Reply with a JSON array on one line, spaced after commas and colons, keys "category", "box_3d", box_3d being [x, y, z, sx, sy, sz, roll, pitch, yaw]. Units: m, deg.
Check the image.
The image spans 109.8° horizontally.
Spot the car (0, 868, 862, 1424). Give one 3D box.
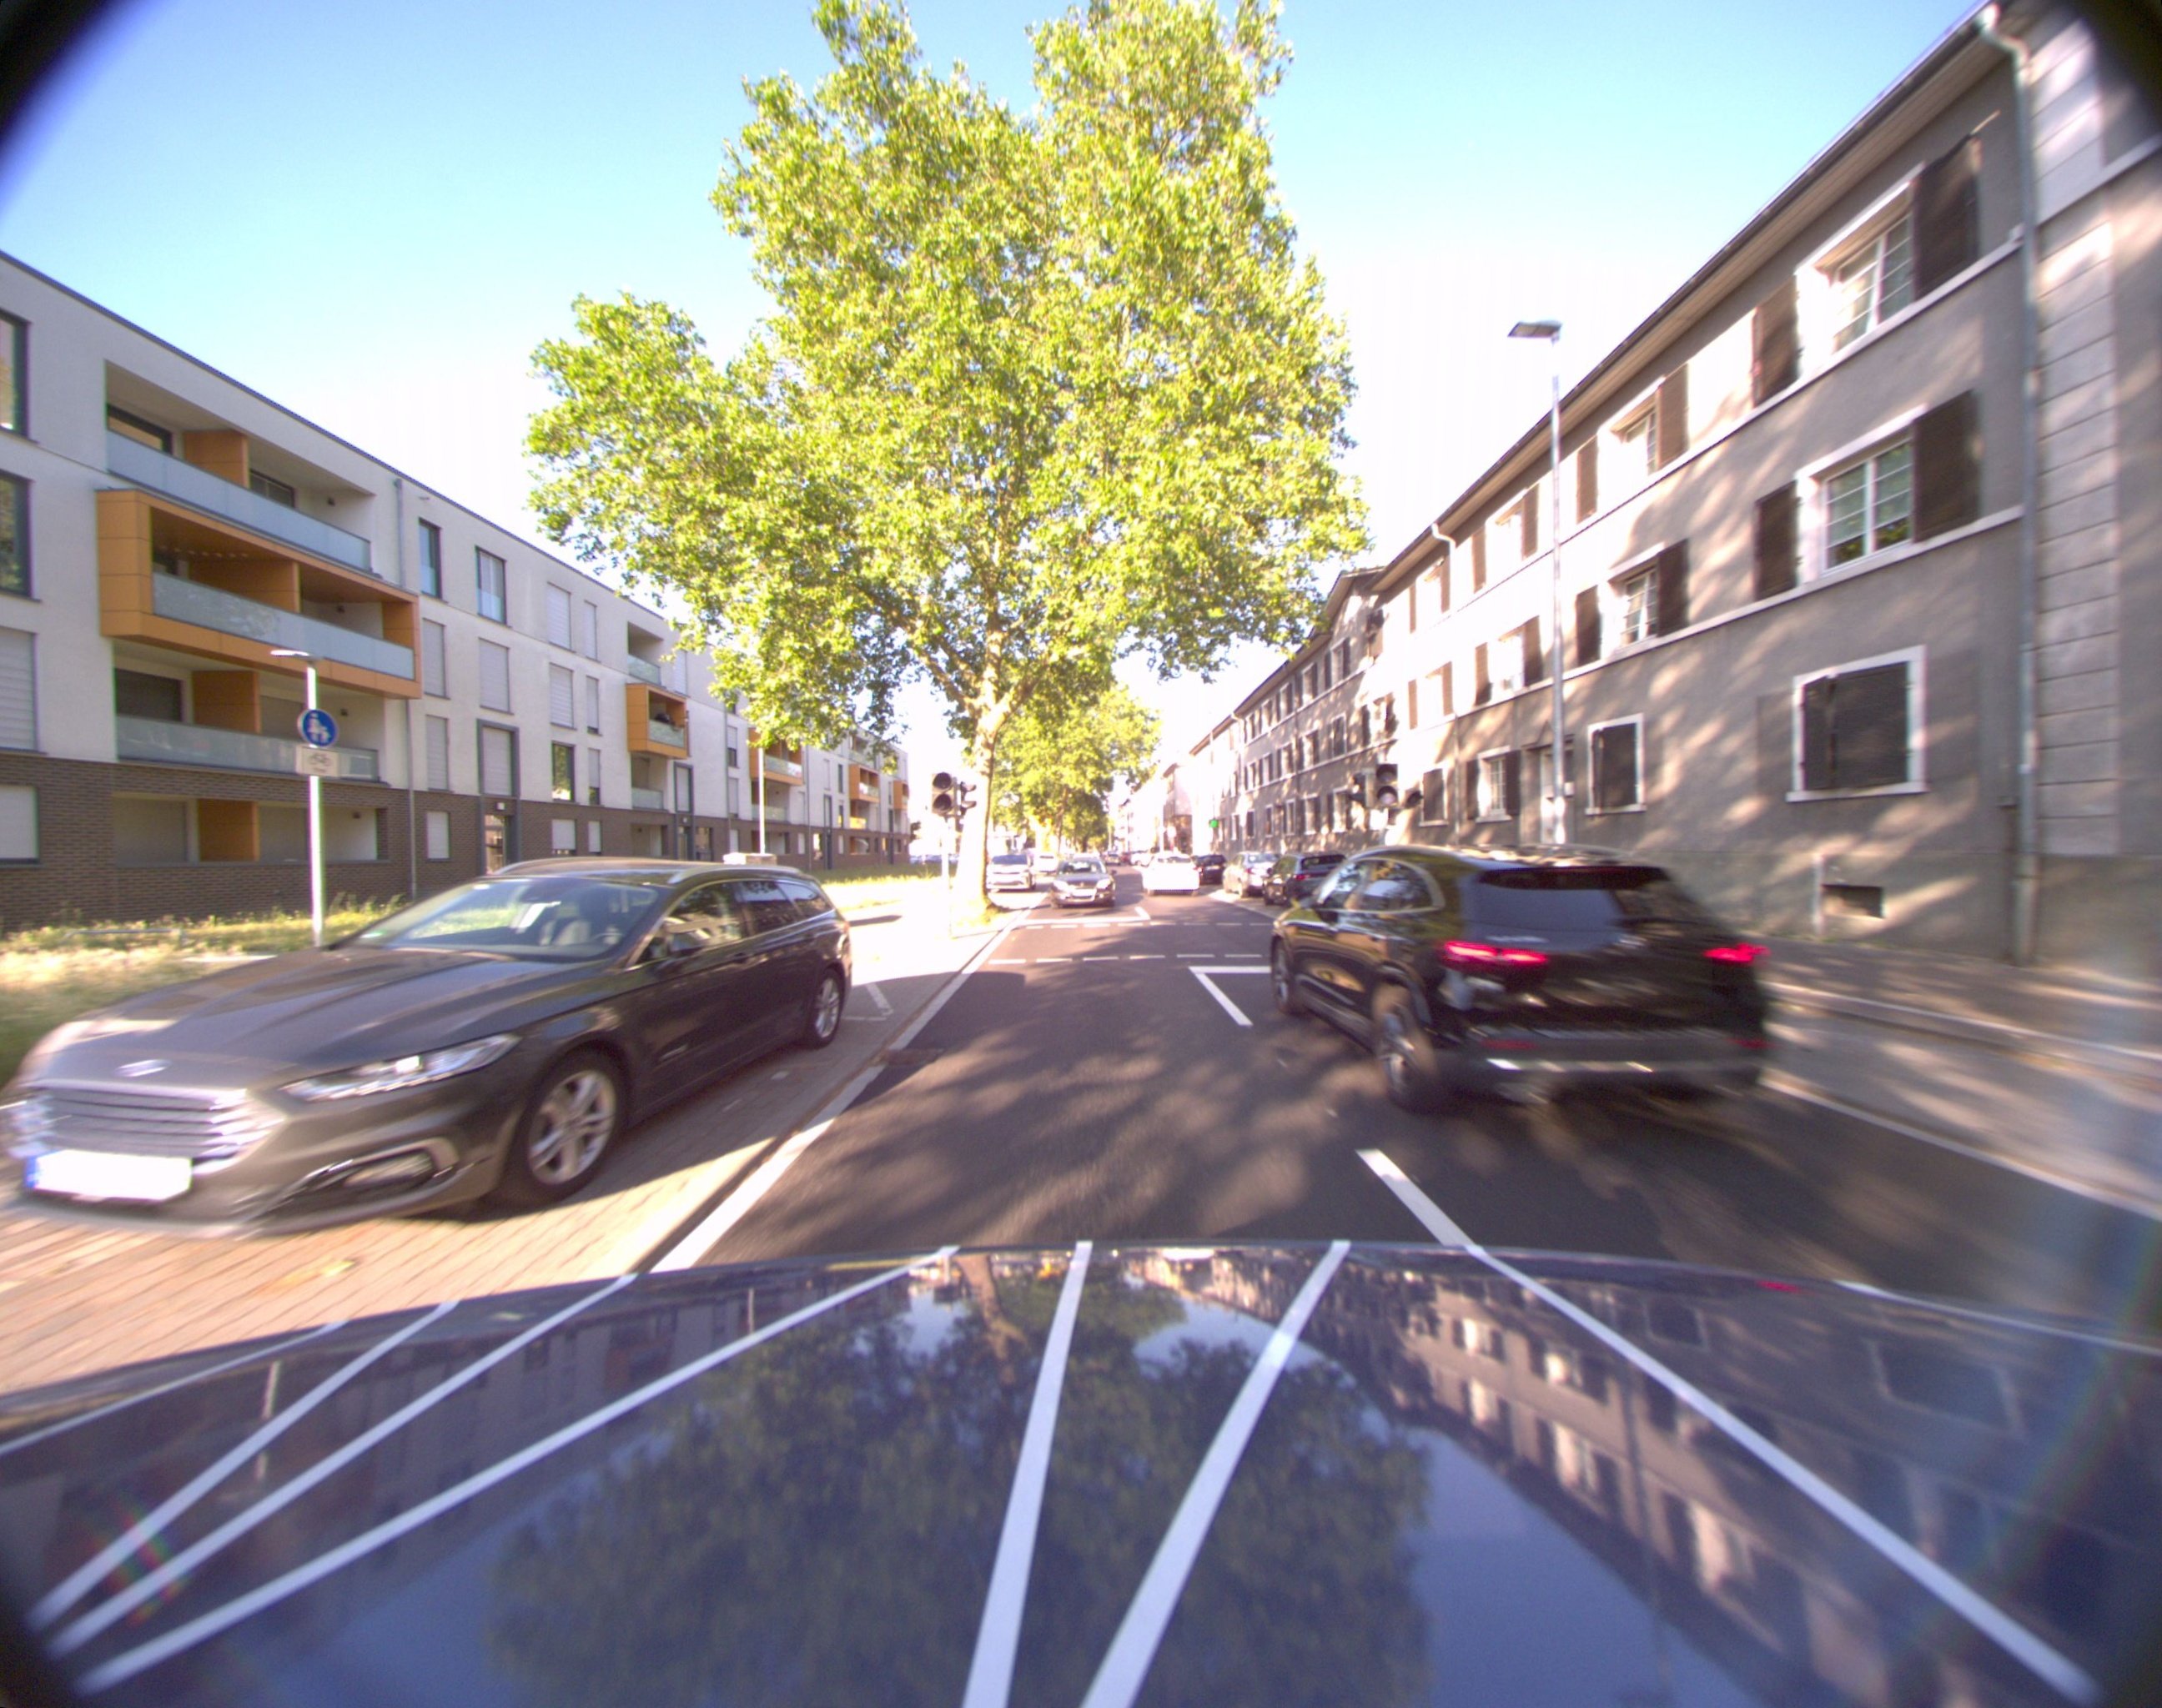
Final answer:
[{"category": "car", "box_3d": [-2.984, 0.910, 4.622, 1.704, 1.472, 4.697, 2, 1, 3]}]

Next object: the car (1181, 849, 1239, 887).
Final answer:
[{"category": "car", "box_3d": [5.906, 0.596, 35.291, 1.870, 1.603, 4.085, -2, 1, -1]}]

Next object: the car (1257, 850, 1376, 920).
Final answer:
[{"category": "car", "box_3d": [5.921, 0.712, 19.632, 1.869, 1.475, 4.087, -4, 1, 2]}]

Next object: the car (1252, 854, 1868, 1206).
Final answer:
[{"category": "car", "box_3d": [2.664, 0.814, 5.534, 1.901, 1.581, 4.069, 0, 1, 0]}]

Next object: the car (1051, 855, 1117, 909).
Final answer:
[{"category": "car", "box_3d": [0.036, 0.797, 23.509, 1.870, 1.471, 4.085, -1, 1, -1]}]

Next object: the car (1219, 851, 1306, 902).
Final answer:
[{"category": "car", "box_3d": [6.028, 0.695, 25.739, 1.870, 1.475, 4.086, -3, 1, 0]}]

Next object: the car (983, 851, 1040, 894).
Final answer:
[{"category": "car", "box_3d": [-2.753, 0.694, 30.819, 1.870, 1.603, 4.086, 0, 1, 1]}]

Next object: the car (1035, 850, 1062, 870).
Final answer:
[{"category": "car", "box_3d": [-2.484, 0.436, 58.861, 1.885, 1.475, 4.000, -1, 1, 1]}]

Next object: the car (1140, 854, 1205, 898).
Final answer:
[{"category": "car", "box_3d": [3.273, 0.757, 27.969, 1.870, 1.475, 4.086, 0, 1, 0]}]
